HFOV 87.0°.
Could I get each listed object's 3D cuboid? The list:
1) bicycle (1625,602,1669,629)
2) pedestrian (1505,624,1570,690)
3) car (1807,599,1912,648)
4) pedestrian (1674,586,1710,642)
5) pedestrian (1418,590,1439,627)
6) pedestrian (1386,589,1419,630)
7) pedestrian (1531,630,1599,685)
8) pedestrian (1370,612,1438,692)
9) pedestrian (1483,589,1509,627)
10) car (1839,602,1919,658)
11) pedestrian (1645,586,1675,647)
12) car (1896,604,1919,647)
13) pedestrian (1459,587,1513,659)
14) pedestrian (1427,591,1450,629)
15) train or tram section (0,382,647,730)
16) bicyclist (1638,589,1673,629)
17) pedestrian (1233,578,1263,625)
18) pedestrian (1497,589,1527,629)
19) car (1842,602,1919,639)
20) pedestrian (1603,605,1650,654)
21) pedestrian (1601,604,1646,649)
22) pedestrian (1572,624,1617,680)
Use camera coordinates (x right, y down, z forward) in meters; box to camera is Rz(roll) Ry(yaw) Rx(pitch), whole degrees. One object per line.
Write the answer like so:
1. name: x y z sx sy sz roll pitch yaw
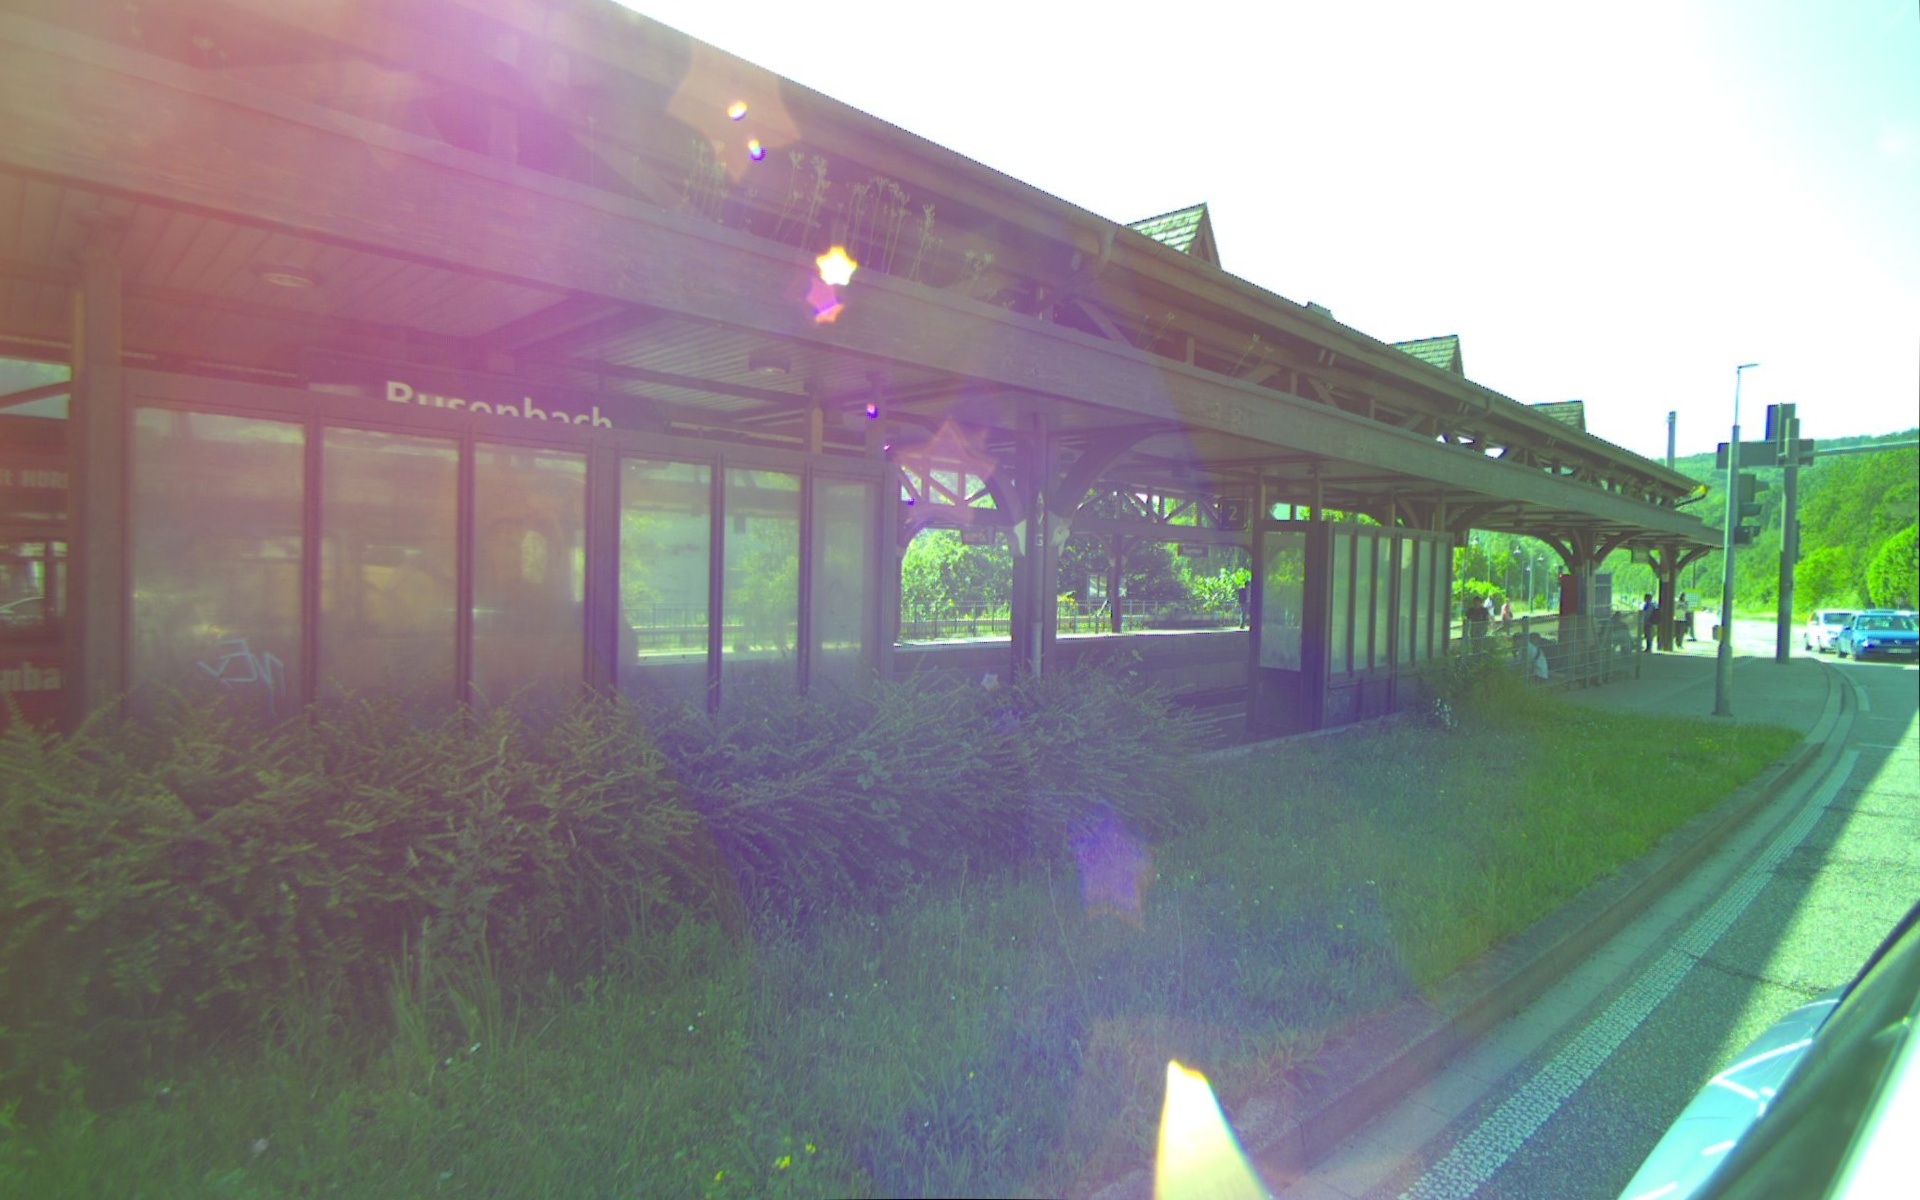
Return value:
1. bicycle: 27.806 0.639 40.987 0.593 1.069 1.812 0 -1 3
2. pedestrian: 9.104 0.885 15.961 0.741 0.995 0.757 -1 -2 42
3. car: 31.070 0.793 35.096 1.984 1.605 3.955 -1 -1 31
4. pedestrian: 23.398 0.459 32.351 0.911 1.759 1.234 -1 -2 37
5. pedestrian: 21.823 0.412 47.172 0.669 1.706 0.560 1 -2 -20
6. pedestrian: 20.300 0.440 46.425 1.054 1.867 0.989 3 -2 -42
7. pedestrian: 10.146 0.946 16.972 0.844 0.885 0.795 -1 -2 42
8. pedestrian: 6.444 0.739 14.687 0.741 1.131 0.657 -1 -2 42
9. pedestrian: 23.964 0.363 45.237 0.864 1.706 0.810 -1 -2 42
10. car: 27.394 0.834 29.634 1.853 1.501 4.251 2 1 33
11. pedestrian: 20.143 0.471 29.126 0.655 1.713 0.730 2 1 35
12. car: 35.888 0.943 36.675 1.965 1.523 4.697 0 -1 31
13. pedestrian: 11.961 0.511 23.015 0.860 1.567 0.908 1 -1 43
14. pedestrian: 21.820 0.448 46.154 0.895 1.706 0.815 0 -2 26
15. train or tram section: -10.597 -0.443 10.769 14.114 3.407 2.858 0 0 -44
16. bicyclist: 27.960 0.349 40.682 0.774 1.589 0.945 0 -1 7
17. pedestrian: 10.671 0.071 37.485 0.888 1.706 0.735 2 -2 -41
18. pedestrian: 24.133 0.403 44.248 0.806 1.706 0.904 1 -2 -3
19. car: 40.283 0.903 44.198 1.965 1.523 3.941 0 -1 31
20. pedestrian: 17.418 0.776 26.452 0.988 1.251 0.589 -1 -2 36
21. pedestrian: 18.037 0.711 27.513 1.003 1.174 0.937 1 0 35
22. pedestrian: 11.245 0.911 17.934 0.616 0.978 0.400 -1 -2 42
